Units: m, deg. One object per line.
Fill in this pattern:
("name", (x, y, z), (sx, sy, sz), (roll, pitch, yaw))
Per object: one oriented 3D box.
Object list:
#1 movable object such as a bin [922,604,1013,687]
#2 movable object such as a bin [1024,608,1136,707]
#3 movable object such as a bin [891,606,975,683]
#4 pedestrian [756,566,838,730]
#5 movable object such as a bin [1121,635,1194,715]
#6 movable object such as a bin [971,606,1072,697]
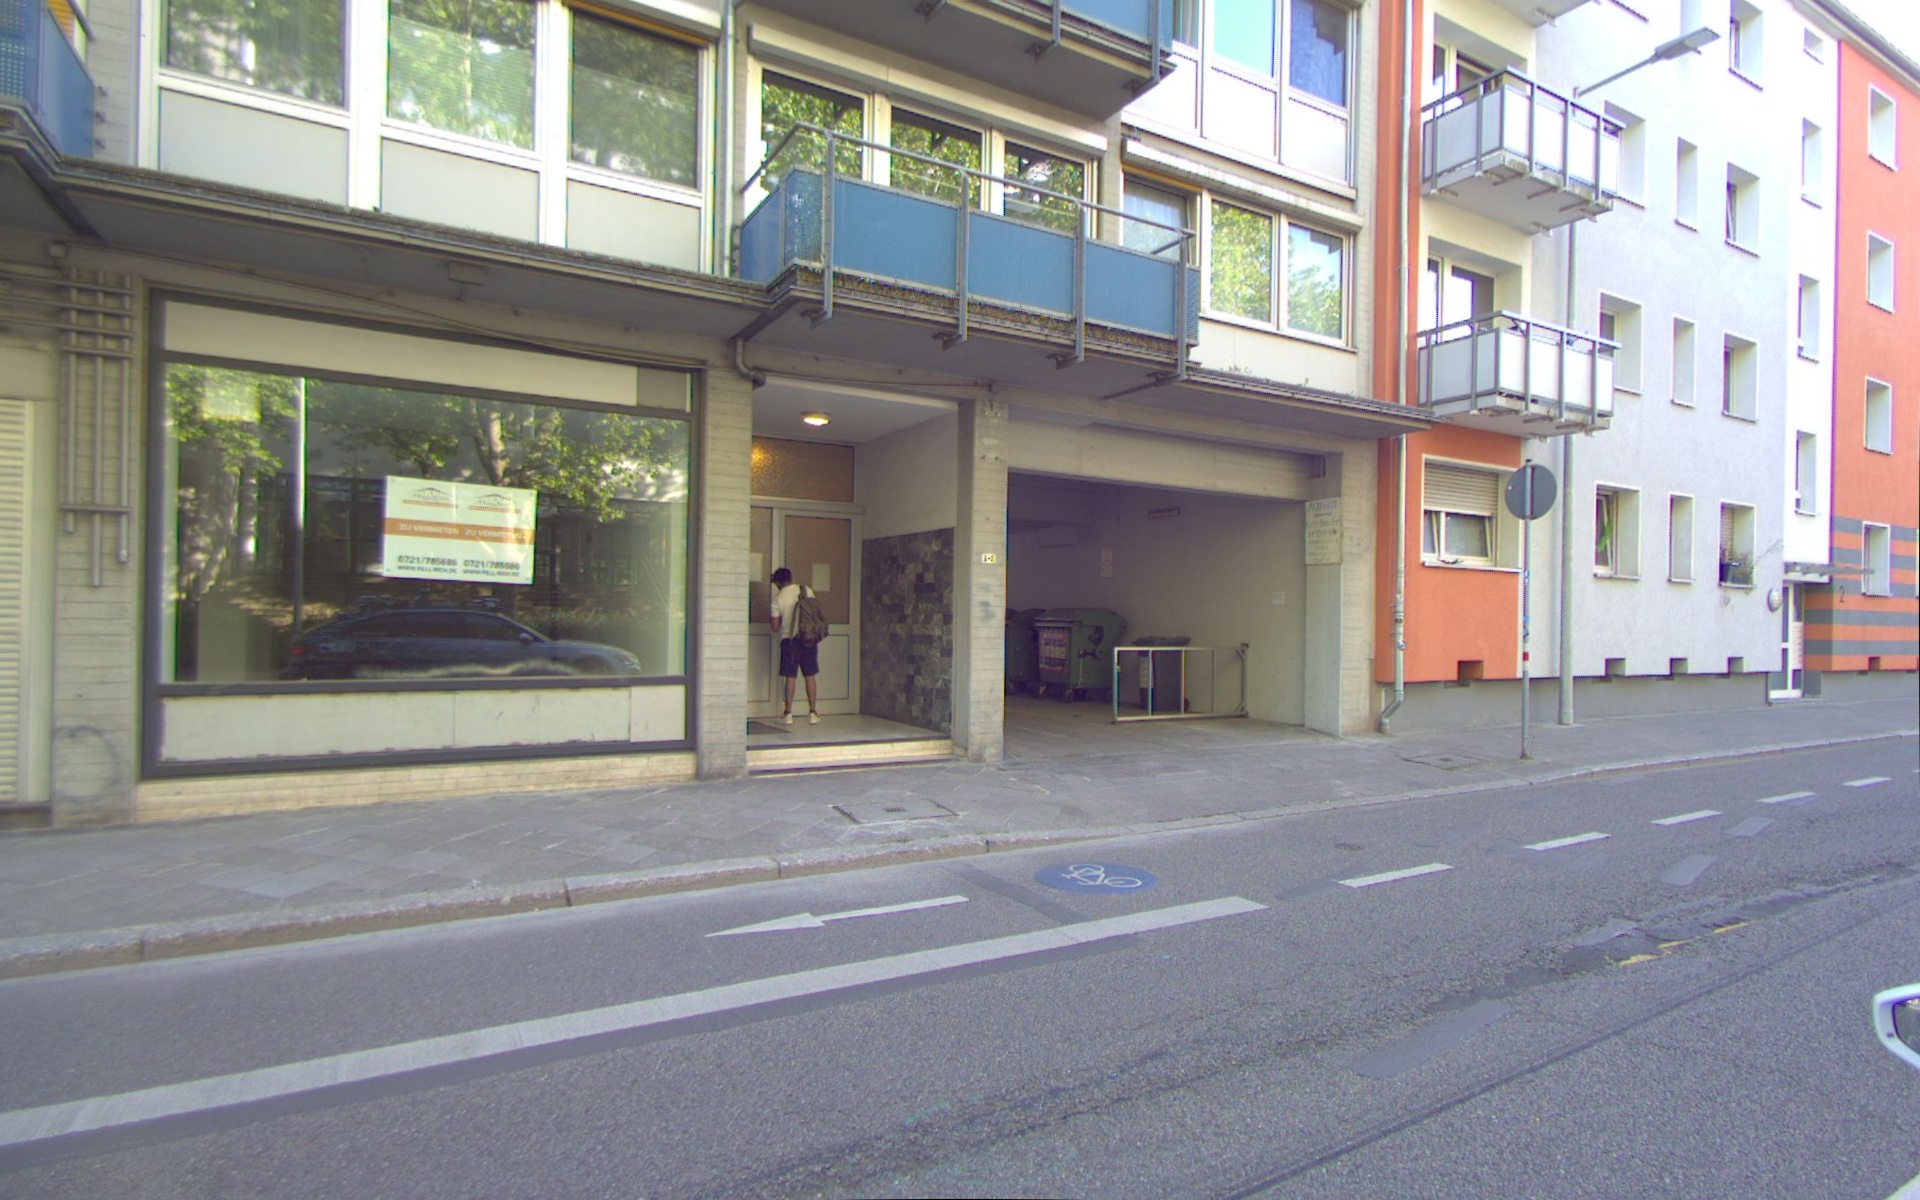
("movable object such as a bin", (0.120, 0.834, 18.759), (1.182, 1.452, 1.300), (2, 0, -30))
("movable object such as a bin", (1.874, 0.872, 15.798), (1.182, 1.452, 1.300), (2, 0, -30))
("movable object such as a bin", (-0.547, 0.865, 19.923), (1.182, 1.452, 1.300), (2, 0, -30))
("pedestrian", (-1.694, 0.476, 10.375), (0.558, 1.606, 0.919), (1, 0, -28))
("movable object such as a bin", (2.851, 1.065, 14.515), (0.707, 1.089, 0.735), (2, 0, -30))
("movable object such as a bin", (1.033, 0.853, 17.184), (1.182, 1.452, 1.300), (2, 0, -30))
